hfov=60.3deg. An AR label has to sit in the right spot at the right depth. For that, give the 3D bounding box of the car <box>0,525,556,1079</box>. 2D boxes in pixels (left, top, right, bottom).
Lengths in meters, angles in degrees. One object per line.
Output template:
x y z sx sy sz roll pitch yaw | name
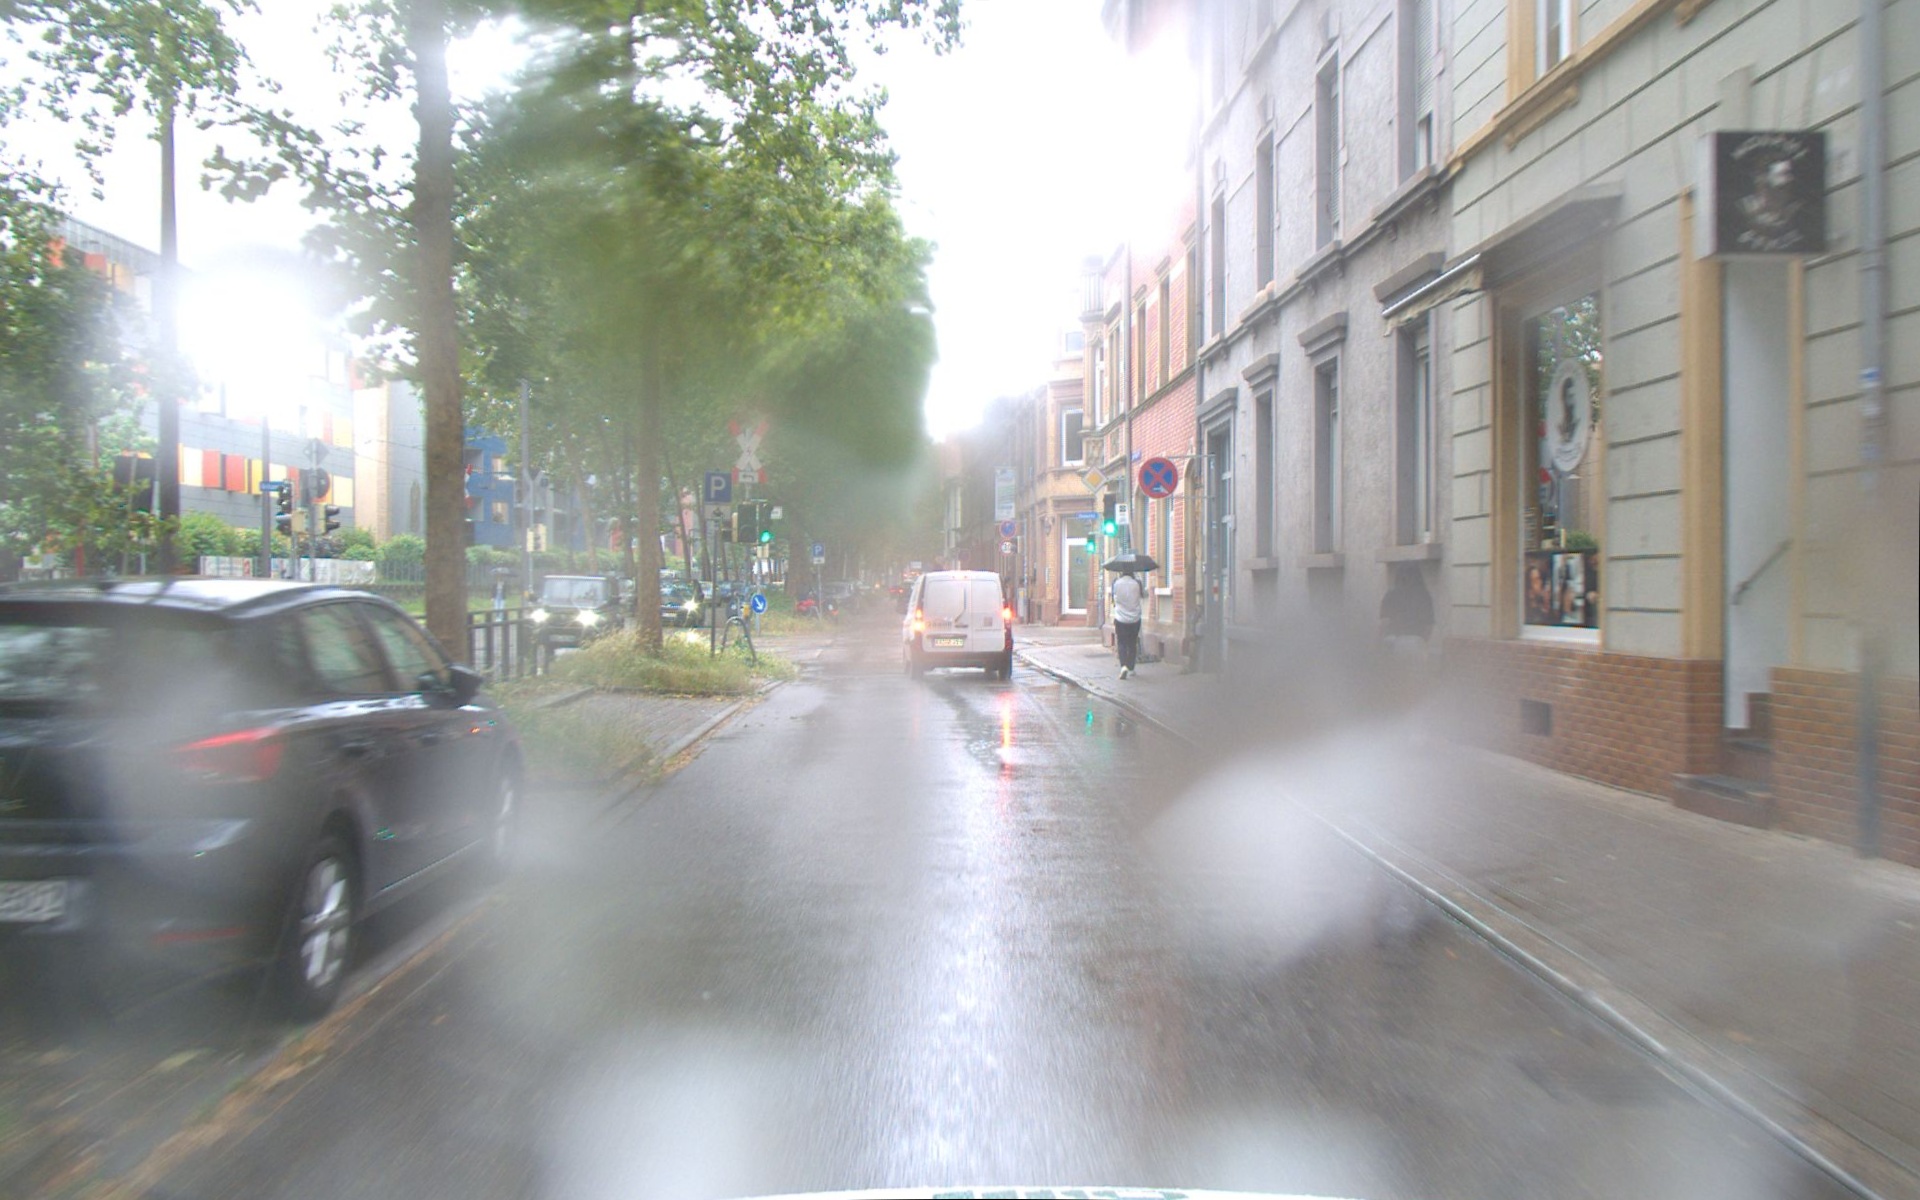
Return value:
-2.888 0.541 6.648 1.616 1.526 4.117 2 0 -2 | car

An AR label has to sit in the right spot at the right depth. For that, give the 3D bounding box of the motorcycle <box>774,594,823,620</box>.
-5.723 0.246 58.549 1.670 0.880 0.577 0 0 3 | motorcycle

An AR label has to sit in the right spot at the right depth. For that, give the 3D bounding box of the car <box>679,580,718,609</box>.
-15.358 -0.329 97.376 1.959 1.641 4.119 0 1 -5 | car

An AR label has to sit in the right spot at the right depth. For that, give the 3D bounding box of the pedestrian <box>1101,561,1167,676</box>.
2.749 0.278 26.221 0.823 1.746 1.107 -3 1 -2 | pedestrian

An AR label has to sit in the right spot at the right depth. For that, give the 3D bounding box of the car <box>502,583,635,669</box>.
-7.957 0.486 33.972 1.957 1.641 3.998 0 1 -3 | car

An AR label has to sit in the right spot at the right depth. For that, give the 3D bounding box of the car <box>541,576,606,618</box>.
-13.891 -0.129 59.682 1.956 1.440 3.992 0 1 -9 | car

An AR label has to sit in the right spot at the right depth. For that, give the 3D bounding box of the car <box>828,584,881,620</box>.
-4.240 0.054 67.114 1.953 1.411 3.999 0 1 -1 | car

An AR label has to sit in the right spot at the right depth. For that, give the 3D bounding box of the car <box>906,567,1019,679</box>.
-0.010 0.407 29.310 1.865 1.829 4.112 0 -1 -2 | car

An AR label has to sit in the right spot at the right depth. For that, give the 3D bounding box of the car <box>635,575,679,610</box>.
-14.210 -0.363 77.403 1.958 1.609 3.990 0 1 -11 | car

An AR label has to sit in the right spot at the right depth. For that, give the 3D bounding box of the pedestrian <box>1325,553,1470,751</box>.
3.628 0.409 13.800 0.823 1.538 1.107 -3 1 -2 | pedestrian

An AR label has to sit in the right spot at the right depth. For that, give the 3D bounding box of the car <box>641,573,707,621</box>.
-9.975 -0.124 57.958 1.959 1.641 4.119 0 1 -5 | car
